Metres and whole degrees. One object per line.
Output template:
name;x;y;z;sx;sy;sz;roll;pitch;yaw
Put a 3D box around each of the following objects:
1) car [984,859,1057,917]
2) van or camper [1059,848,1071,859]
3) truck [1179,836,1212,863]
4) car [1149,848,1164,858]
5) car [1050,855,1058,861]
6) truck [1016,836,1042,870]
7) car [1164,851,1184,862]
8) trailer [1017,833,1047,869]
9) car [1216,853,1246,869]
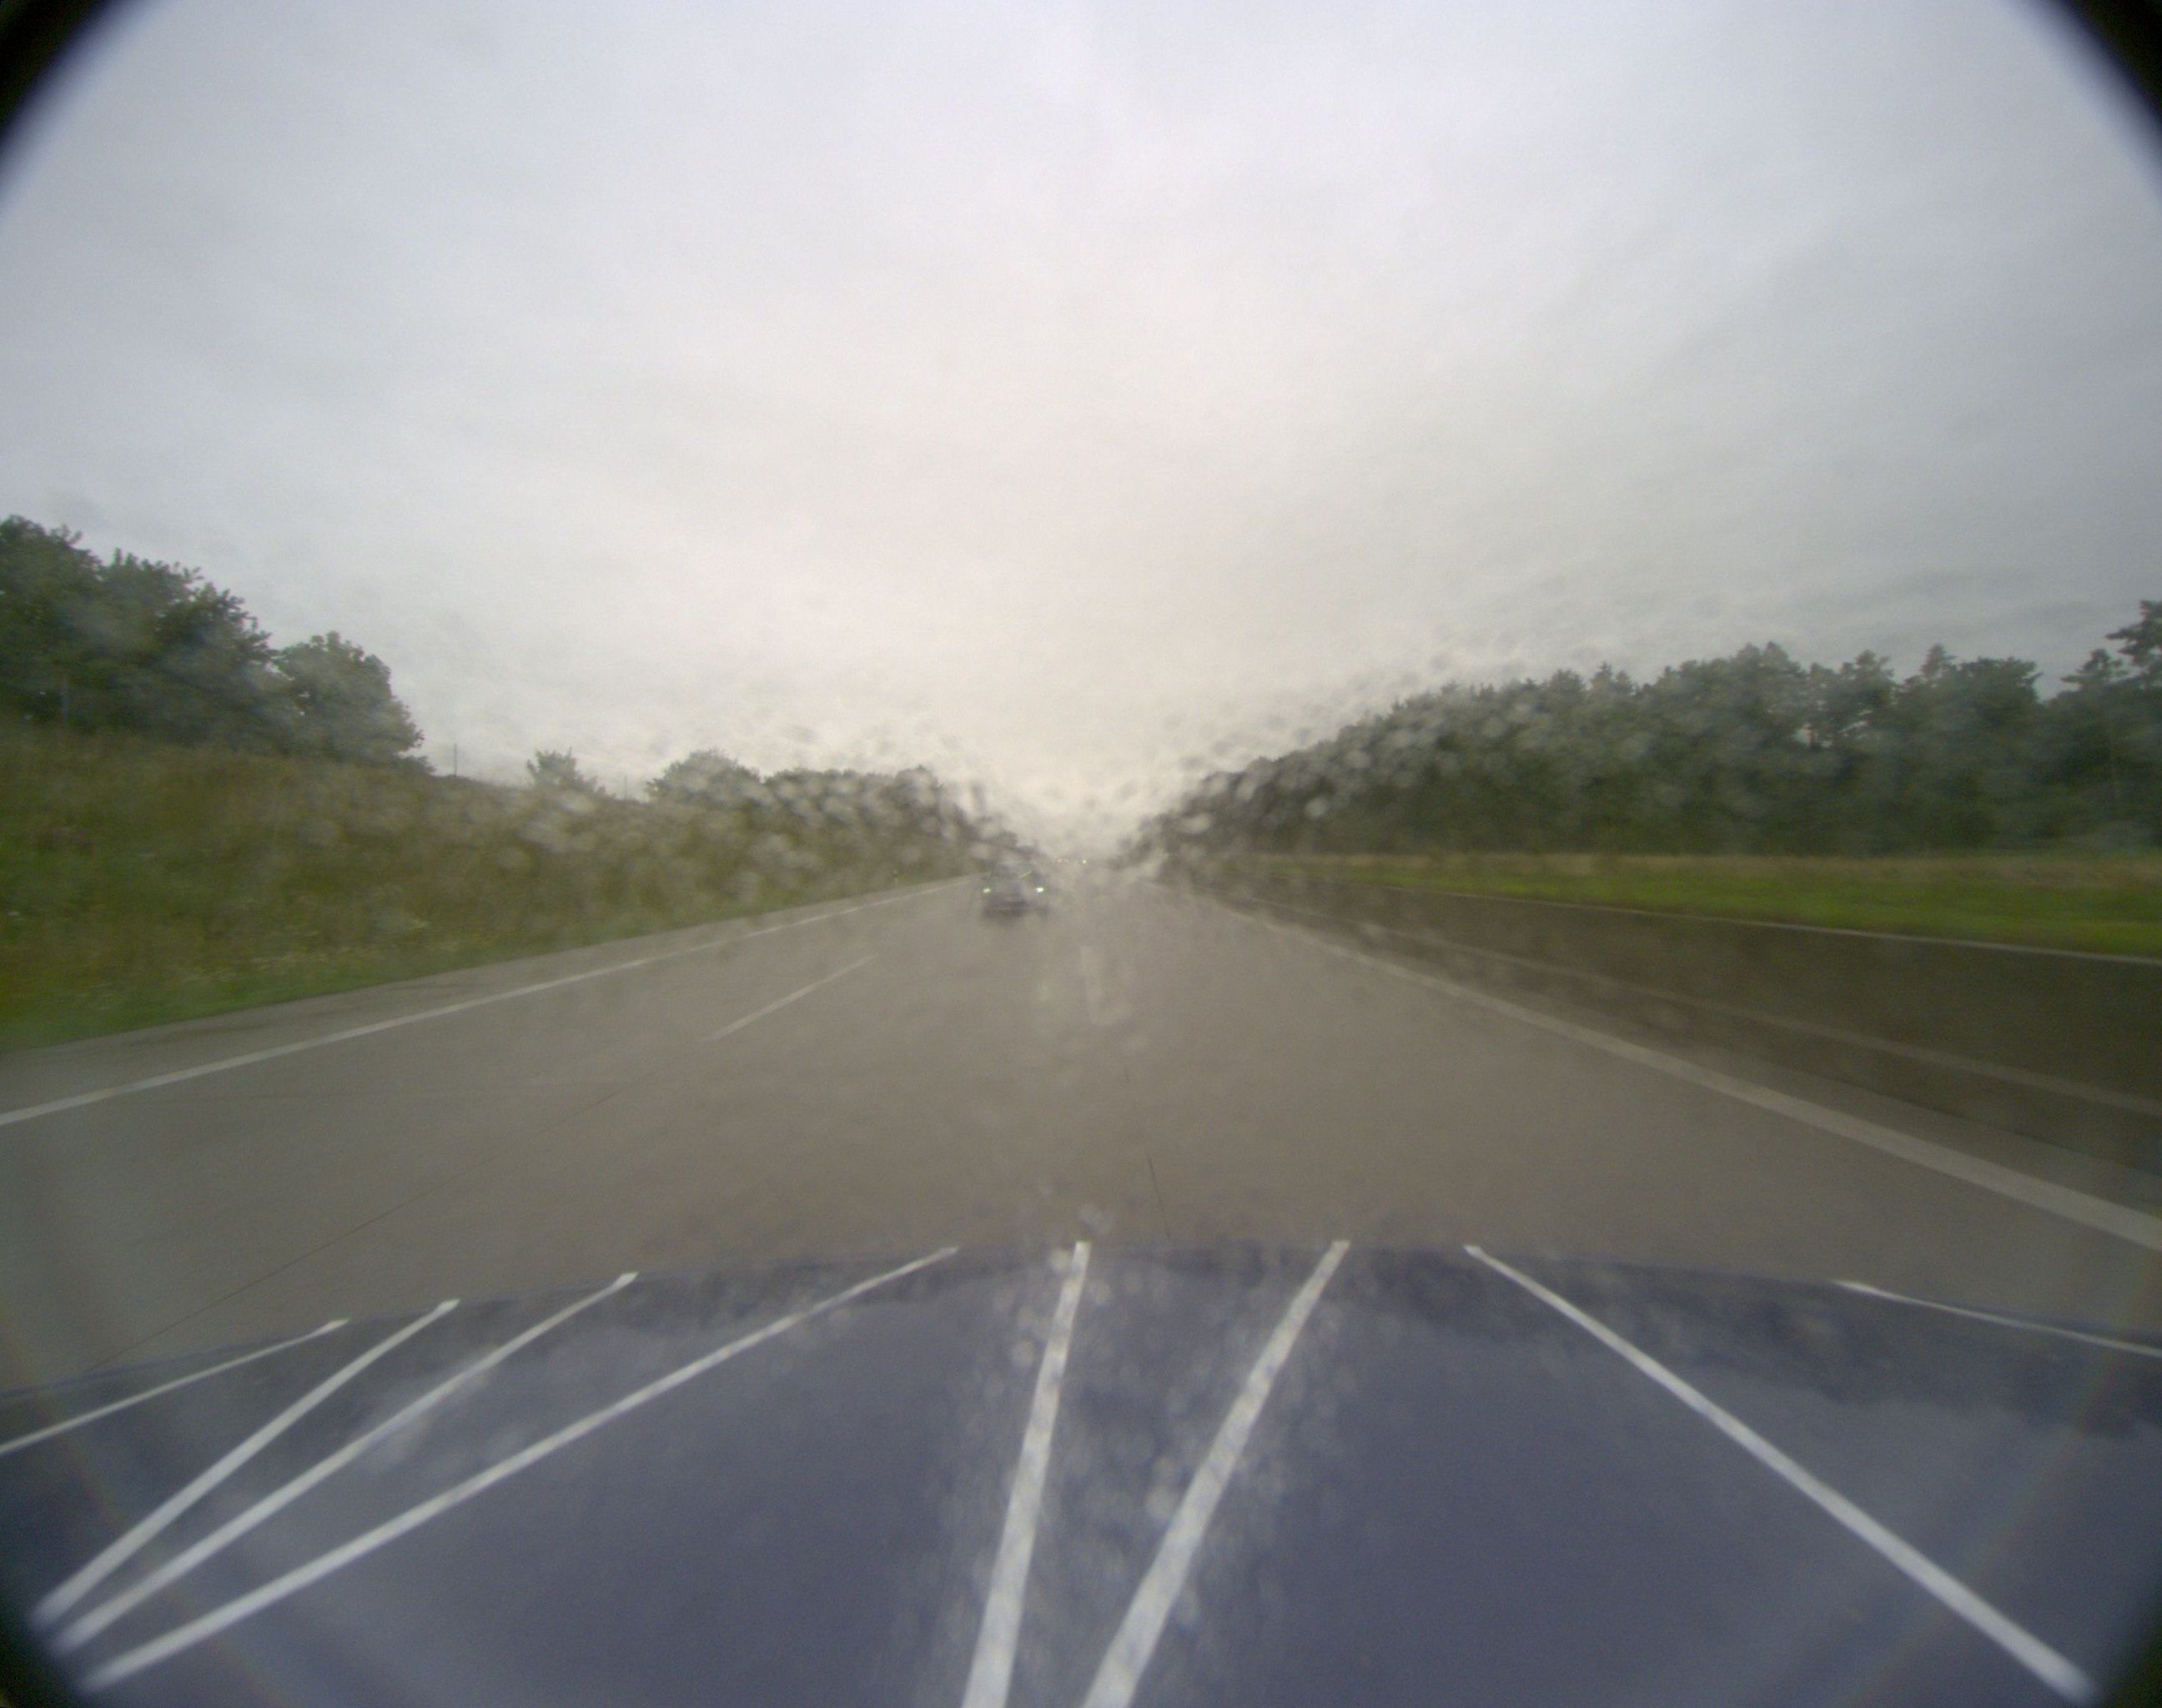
car;-1.651;0.908;22.197;1.734;1.450;4.672;-1;0;0
van or camper;-3.543;-0.128;171.003;2.233;2.537;7.949;1;1;1
truck;17.045;-0.519;114.340;2.910;3.833;12.450;-1;-1;-1
car;13.216;-0.118;133.005;1.995;1.622;5.382;-3;0;-1
car;-7.821;1.263;219.960;1.998;1.575;5.954;-3;-1;1
truck;-6.467;-0.090;94.821;2.643;3.930;5.686;-3;-1;1
car;13.409;0.406;110.362;2.115;1.621;5.851;0;-1;-1
trailer;-6.439;-0.237;102.576;2.713;4.353;15.206;-3;-1;0
car;13.482;0.653;68.443;1.606;1.379;4.623;-1;0;-2
